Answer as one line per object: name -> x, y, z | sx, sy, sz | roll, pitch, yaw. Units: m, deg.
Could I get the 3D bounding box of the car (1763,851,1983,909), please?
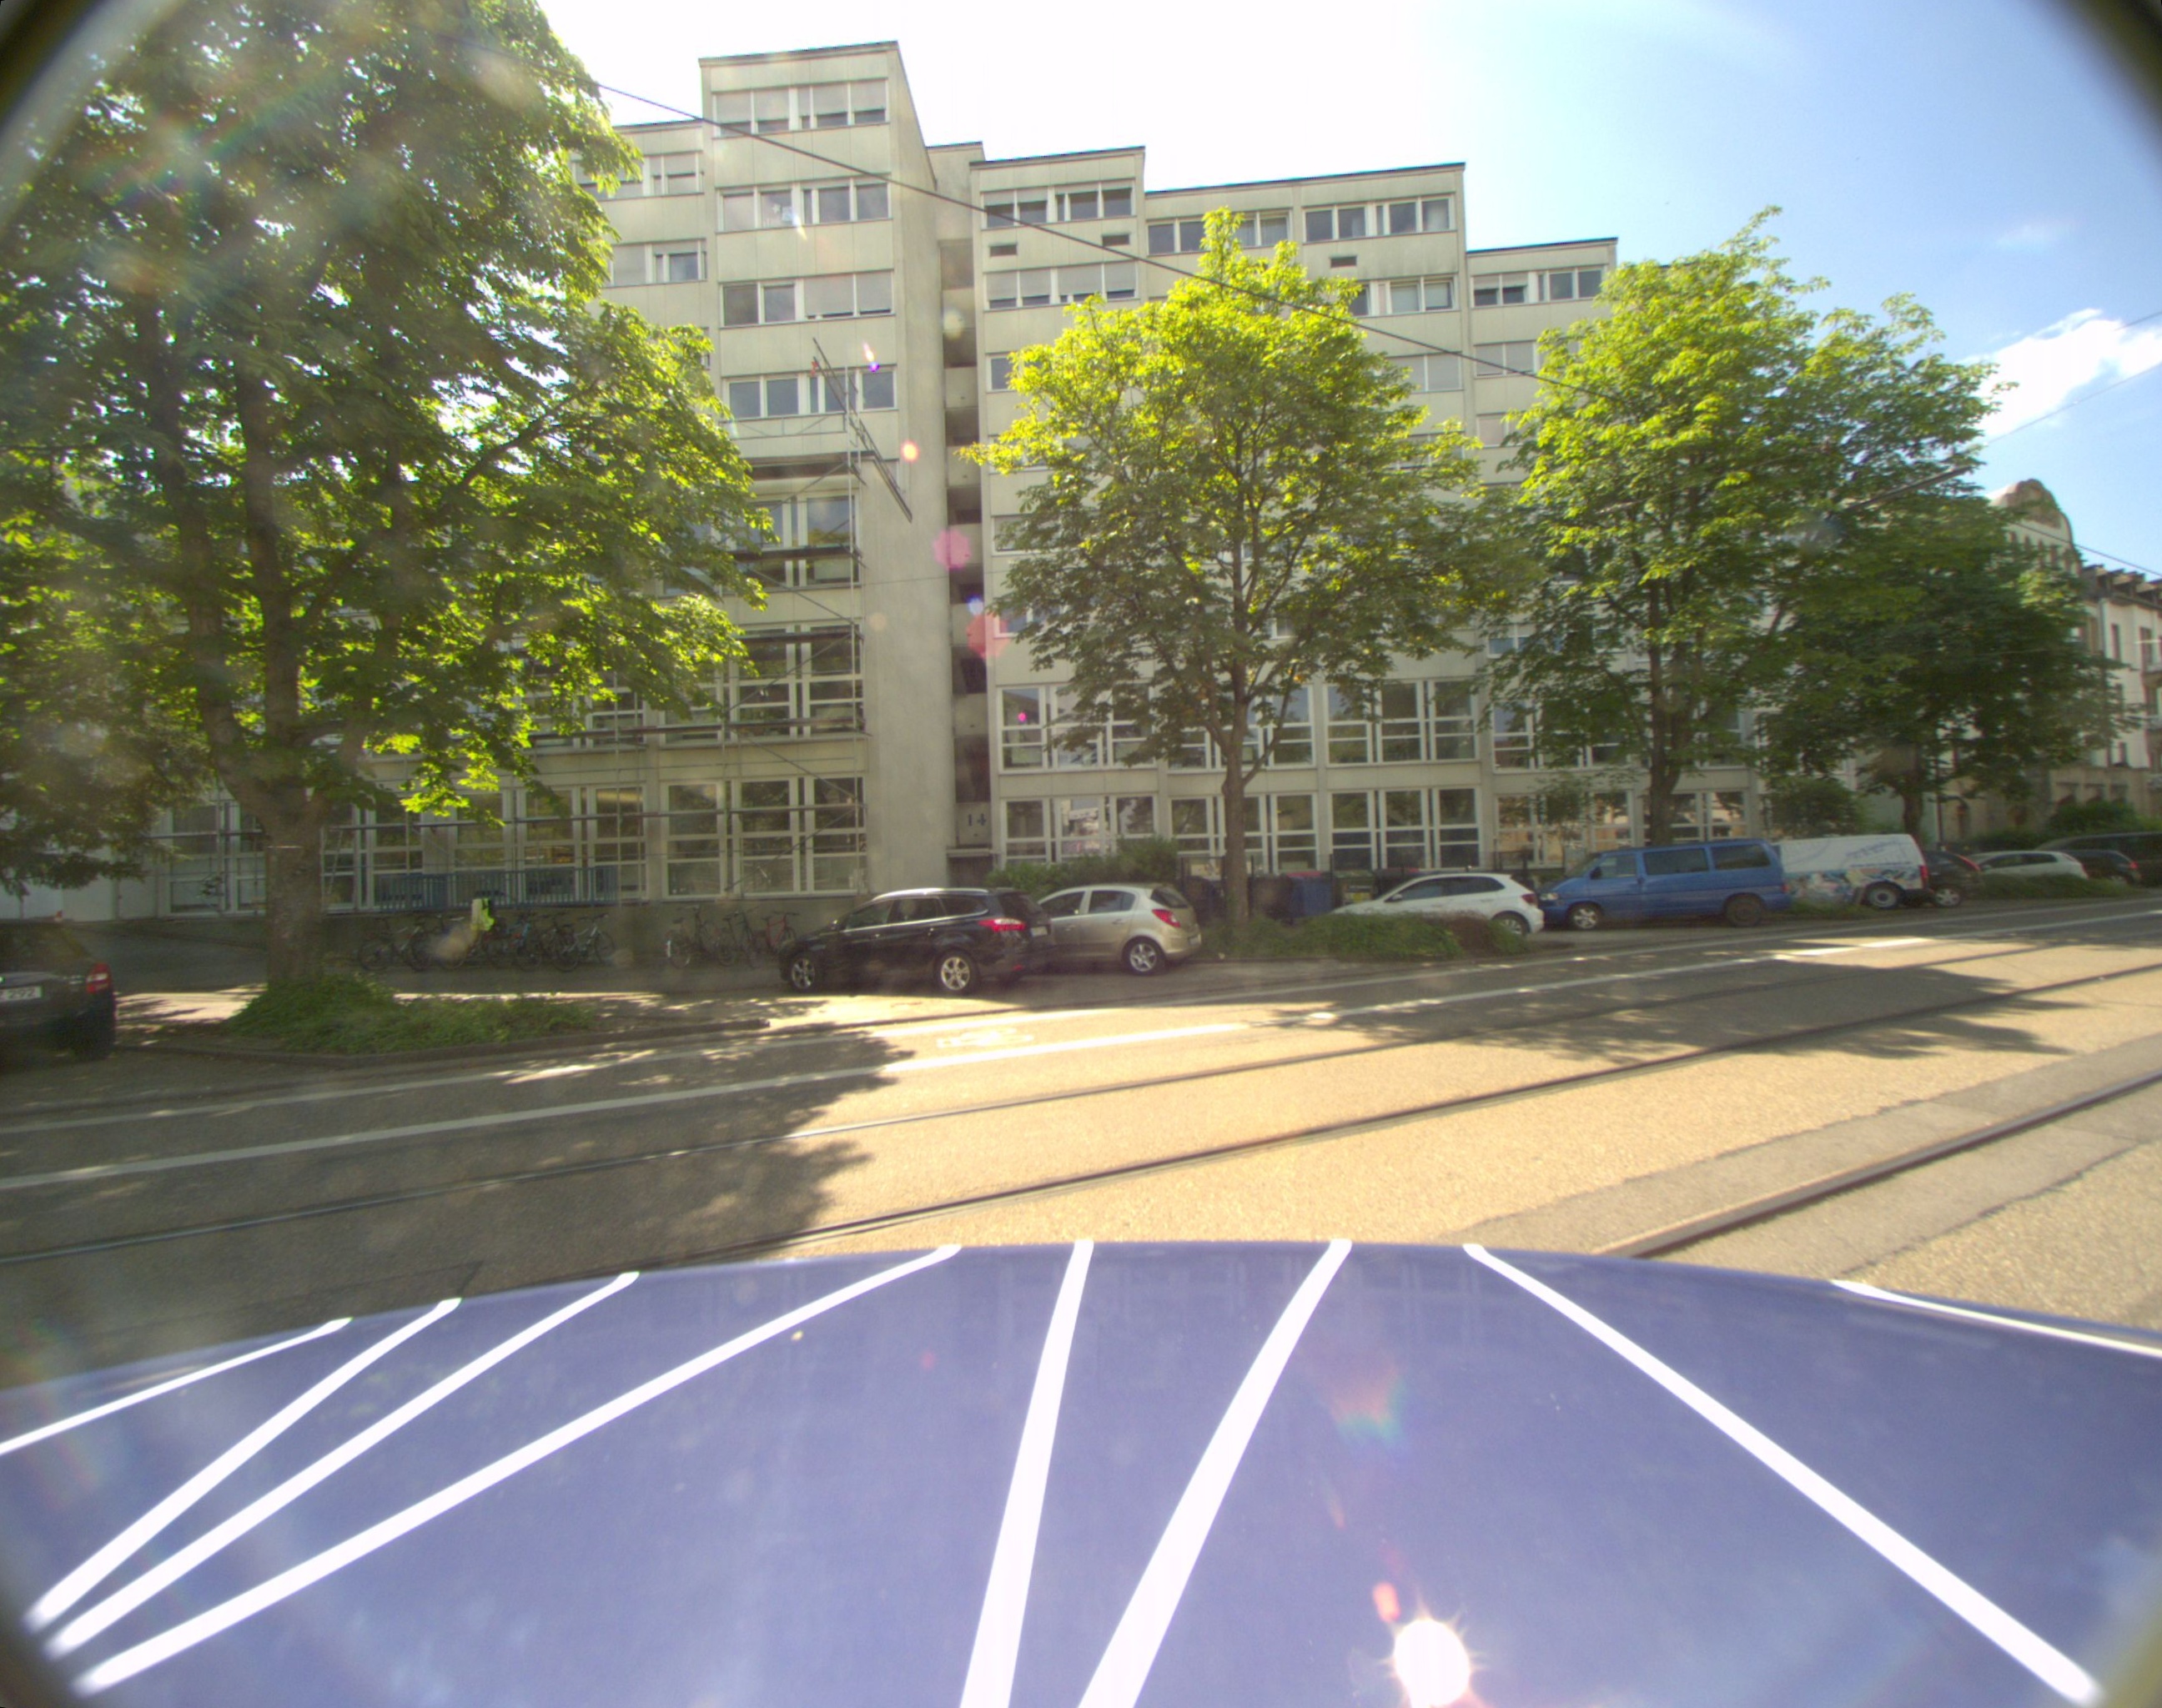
car -> 22.146, 0.762, 21.498 | 3.990, 1.477, 1.674 | -3, -2, 33

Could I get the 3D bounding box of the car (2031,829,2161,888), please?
car -> 37.784, 0.150, 27.584 | 2.004, 2.001, 3.990 | -1, -2, -40

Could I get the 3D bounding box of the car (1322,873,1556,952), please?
car -> 7.012, 1.172, 15.273 | 3.973, 1.405, 1.718 | -3, -2, 21

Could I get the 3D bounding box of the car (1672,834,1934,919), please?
car -> 18.854, 0.637, 20.213 | 4.619, 2.001, 2.004 | -3, -2, 30

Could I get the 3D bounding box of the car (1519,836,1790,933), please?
car -> 13.122, 0.752, 17.807 | 4.620, 2.001, 2.003 | -3, -2, 22

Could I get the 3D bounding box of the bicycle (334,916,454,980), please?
bicycle -> -14.018, 1.891, 15.590 | 0.568, 1.123, 1.929 | -2, -2, 5

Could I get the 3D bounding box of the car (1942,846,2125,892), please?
car -> 34.255, 0.563, 27.505 | 1.952, 1.498, 3.990 | -1, -2, -40

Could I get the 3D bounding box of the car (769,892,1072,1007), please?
car -> -2.430, 1.403, 11.588 | 4.188, 1.461, 1.757 | -3, -2, 21

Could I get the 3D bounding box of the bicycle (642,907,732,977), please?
bicycle -> -7.994, 1.753, 15.515 | 0.568, 1.230, 1.945 | -2, -2, 9

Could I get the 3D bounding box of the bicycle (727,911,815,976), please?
bicycle -> -6.320, 1.798, 15.638 | 0.568, 1.123, 2.237 | -2, -2, 9

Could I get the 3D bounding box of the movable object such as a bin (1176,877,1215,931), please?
movable object such as a bin -> 3.121, 1.363, 20.834 | 0.804, 1.396, 0.767 | -2, -2, -9

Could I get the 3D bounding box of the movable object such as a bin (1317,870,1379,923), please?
movable object such as a bin -> 7.505, 1.191, 21.395 | 1.182, 1.390, 1.037 | -2, -2, -15

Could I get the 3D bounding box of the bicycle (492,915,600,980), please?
bicycle -> -10.746, 1.849, 15.351 | 0.568, 1.123, 1.945 | -2, -2, 9

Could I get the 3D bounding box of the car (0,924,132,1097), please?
car -> -11.482, 1.529, 7.476 | 3.568, 1.507, 1.653 | -3, -2, 21

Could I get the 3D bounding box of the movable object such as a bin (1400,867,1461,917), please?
movable object such as a bin -> 10.287, 1.104, 22.383 | 1.182, 1.390, 1.037 | -2, -2, -15

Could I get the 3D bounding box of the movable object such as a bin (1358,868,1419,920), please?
movable object such as a bin -> 8.842, 1.149, 21.873 | 1.182, 1.390, 1.037 | -2, -2, -15

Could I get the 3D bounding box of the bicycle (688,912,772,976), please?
bicycle -> -7.196, 1.827, 15.688 | 0.568, 1.123, 1.945 | -2, -2, 9

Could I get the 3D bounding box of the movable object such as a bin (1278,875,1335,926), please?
movable object such as a bin -> 6.134, 1.259, 20.697 | 1.078, 1.322, 0.970 | -2, -2, -21

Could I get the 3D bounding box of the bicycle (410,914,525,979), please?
bicycle -> -12.474, 1.853, 15.524 | 0.568, 1.123, 1.929 | -2, -2, 9

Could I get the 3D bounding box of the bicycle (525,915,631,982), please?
bicycle -> -9.976, 1.847, 15.163 | 0.568, 1.123, 1.945 | -2, -2, 9

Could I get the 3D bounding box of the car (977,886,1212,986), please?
car -> 0.253, 1.343, 12.822 | 3.532, 1.453, 1.757 | -3, -2, 21

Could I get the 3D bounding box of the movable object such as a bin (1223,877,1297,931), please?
movable object such as a bin -> 4.702, 1.297, 20.035 | 1.453, 1.322, 1.125 | -2, -2, -21

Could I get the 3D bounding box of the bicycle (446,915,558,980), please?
bicycle -> -11.726, 1.862, 15.468 | 0.568, 1.123, 1.945 | -2, -2, 9

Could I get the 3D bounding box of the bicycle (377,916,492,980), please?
bicycle -> -13.236, 1.890, 15.636 | 0.568, 1.123, 1.929 | -2, -2, 5

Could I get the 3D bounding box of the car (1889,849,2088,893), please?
car -> 30.718, 0.550, 25.886 | 3.991, 1.379, 1.753 | 0, 1, 20
